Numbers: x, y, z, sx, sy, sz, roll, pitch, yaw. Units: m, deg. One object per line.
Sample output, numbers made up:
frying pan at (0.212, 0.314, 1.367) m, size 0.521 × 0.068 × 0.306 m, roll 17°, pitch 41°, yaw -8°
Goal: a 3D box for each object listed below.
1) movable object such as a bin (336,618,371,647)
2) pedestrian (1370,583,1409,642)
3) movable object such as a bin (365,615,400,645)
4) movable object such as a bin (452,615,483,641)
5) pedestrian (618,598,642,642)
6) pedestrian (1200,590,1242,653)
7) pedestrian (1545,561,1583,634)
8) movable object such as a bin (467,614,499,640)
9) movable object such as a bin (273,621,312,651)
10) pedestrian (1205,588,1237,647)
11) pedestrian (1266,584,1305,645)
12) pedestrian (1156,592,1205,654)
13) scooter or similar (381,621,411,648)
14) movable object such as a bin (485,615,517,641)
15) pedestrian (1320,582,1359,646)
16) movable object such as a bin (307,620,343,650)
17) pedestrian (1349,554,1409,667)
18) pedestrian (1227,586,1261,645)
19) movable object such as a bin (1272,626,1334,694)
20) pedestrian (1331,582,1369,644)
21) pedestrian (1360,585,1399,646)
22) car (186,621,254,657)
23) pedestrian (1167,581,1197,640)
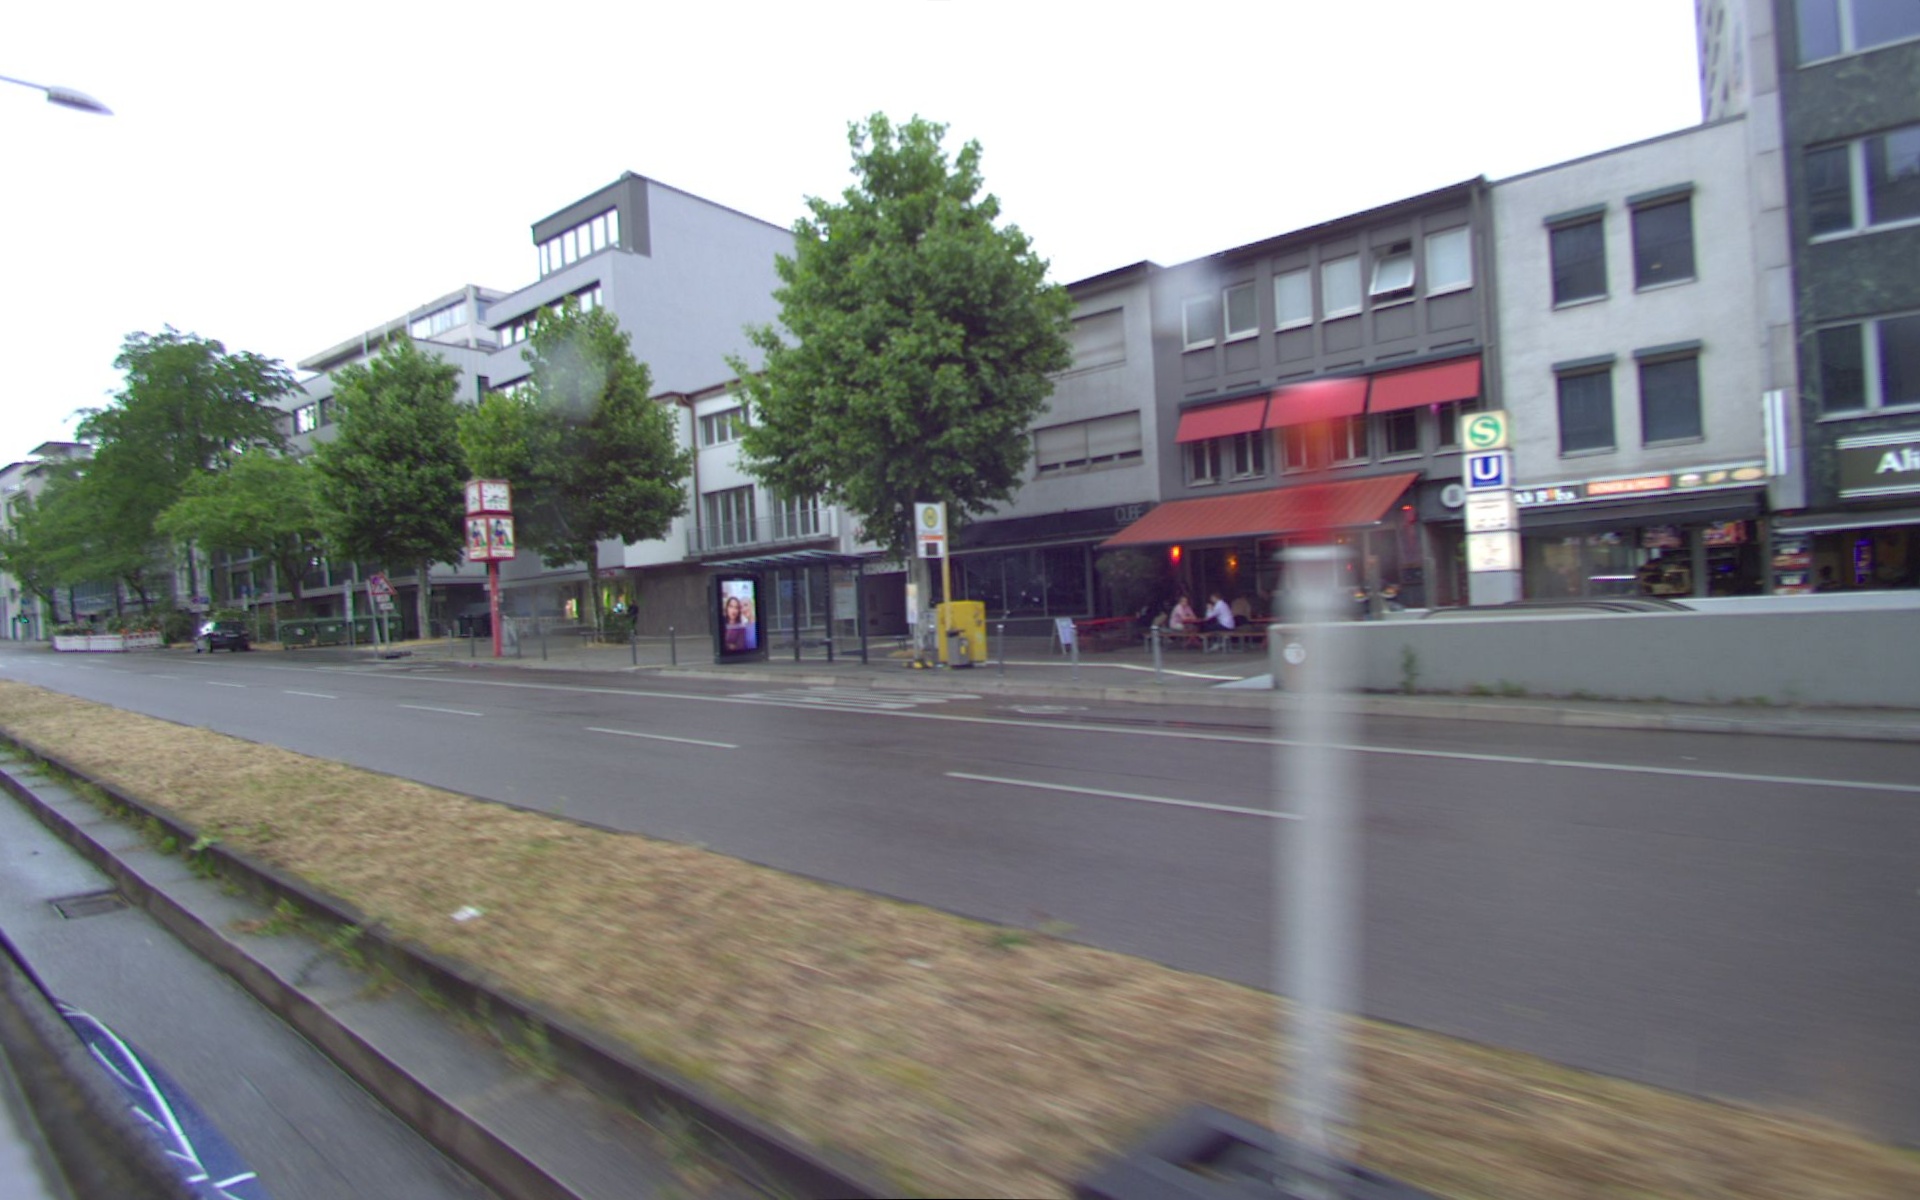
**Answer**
movable object such as a bin at (-31.475, 1.666, 52.533) m, size 1.088 × 1.437 × 1.265 m, roll -2°, pitch 0°, yaw 41°
pedestrian at (10.127, 0.296, 23.860) m, size 0.690 × 1.366 × 0.627 m, roll -2°, pitch 0°, yaw 34°
movable object such as a bin at (-30.585, 1.573, 53.586) m, size 1.088 × 1.499 × 1.265 m, roll -2°, pitch 0°, yaw 41°
movable object such as a bin at (-28.219, 1.613, 57.989) m, size 1.278 × 1.446 × 1.077 m, roll -2°, pitch 0°, yaw 32°
pedestrian at (-13.536, 0.830, 41.550) m, size 0.653 × 1.776 × 0.688 m, roll -2°, pitch -1°, yaw 43°
pedestrian at (6.180, 0.503, 23.950) m, size 0.706 × 1.461 × 0.683 m, roll -2°, pitch 0°, yaw 37°
pedestrian at (12.364, -0.055, 20.722) m, size 0.587 × 1.461 × 0.597 m, roll -2°, pitch 0°, yaw 36°
movable object such as a bin at (-26.935, 1.516, 57.133) m, size 1.278 × 1.446 × 1.077 m, roll -2°, pitch 0°, yaw 32°
movable object such as a bin at (-33.224, 1.776, 50.398) m, size 1.088 × 1.437 × 1.345 m, roll -2°, pitch 0°, yaw 41°
pedestrian at (6.651, 0.436, 25.793) m, size 0.546 × 1.461 × 0.683 m, roll -2°, pitch 0°, yaw 37°
pedestrian at (7.957, 0.357, 24.727) m, size 0.690 × 1.461 × 0.720 m, roll -2°, pitch 0°, yaw 34°
pedestrian at (5.351, 0.550, 24.568) m, size 0.912 × 1.461 × 0.683 m, roll -2°, pitch 0°, yaw 37°
scooter or similar at (-26.325, 1.616, 47.233) m, size 1.323 × 1.130 × 0.767 m, roll -6°, pitch 0°, yaw 42°
movable object such as a bin at (-25.630, 1.563, 56.540) m, size 1.278 × 1.446 × 1.077 m, roll -2°, pitch 0°, yaw 32°
pedestrian at (8.890, 0.325, 23.700) m, size 0.690 × 1.461 × 0.627 m, roll -2°, pitch 0°, yaw 34°
movable object such as a bin at (-32.311, 1.764, 51.490) m, size 1.088 × 1.437 × 1.265 m, roll -2°, pitch 0°, yaw 41°
pedestrian at (7.282, 0.184, 17.590) m, size 0.757 × 1.899 × 0.683 m, roll -2°, pitch 0°, yaw 37°
pedestrian at (7.117, 0.390, 25.351) m, size 0.582 × 1.461 × 0.683 m, roll -2°, pitch 0°, yaw 38°
movable object such as a bin at (4.719, 0.820, 13.920) m, size 0.680 × 0.904 × 0.527 m, roll -2°, pitch -2°, yaw 32°
pedestrian at (9.417, 0.318, 24.421) m, size 0.690 × 1.461 × 0.627 m, roll -2°, pitch 0°, yaw 34°
pedestrian at (9.636, 0.355, 23.248) m, size 0.690 × 1.354 × 0.627 m, roll -2°, pitch 0°, yaw 34°
car at (-37.216, 1.951, 50.874) m, size 4.019 × 1.648 × 1.761 m, roll -2°, pitch 0°, yaw 39°
pedestrian at (6.082, 0.284, 27.682) m, size 0.603 × 1.582 × 0.591 m, roll -2°, pitch -1°, yaw 31°
